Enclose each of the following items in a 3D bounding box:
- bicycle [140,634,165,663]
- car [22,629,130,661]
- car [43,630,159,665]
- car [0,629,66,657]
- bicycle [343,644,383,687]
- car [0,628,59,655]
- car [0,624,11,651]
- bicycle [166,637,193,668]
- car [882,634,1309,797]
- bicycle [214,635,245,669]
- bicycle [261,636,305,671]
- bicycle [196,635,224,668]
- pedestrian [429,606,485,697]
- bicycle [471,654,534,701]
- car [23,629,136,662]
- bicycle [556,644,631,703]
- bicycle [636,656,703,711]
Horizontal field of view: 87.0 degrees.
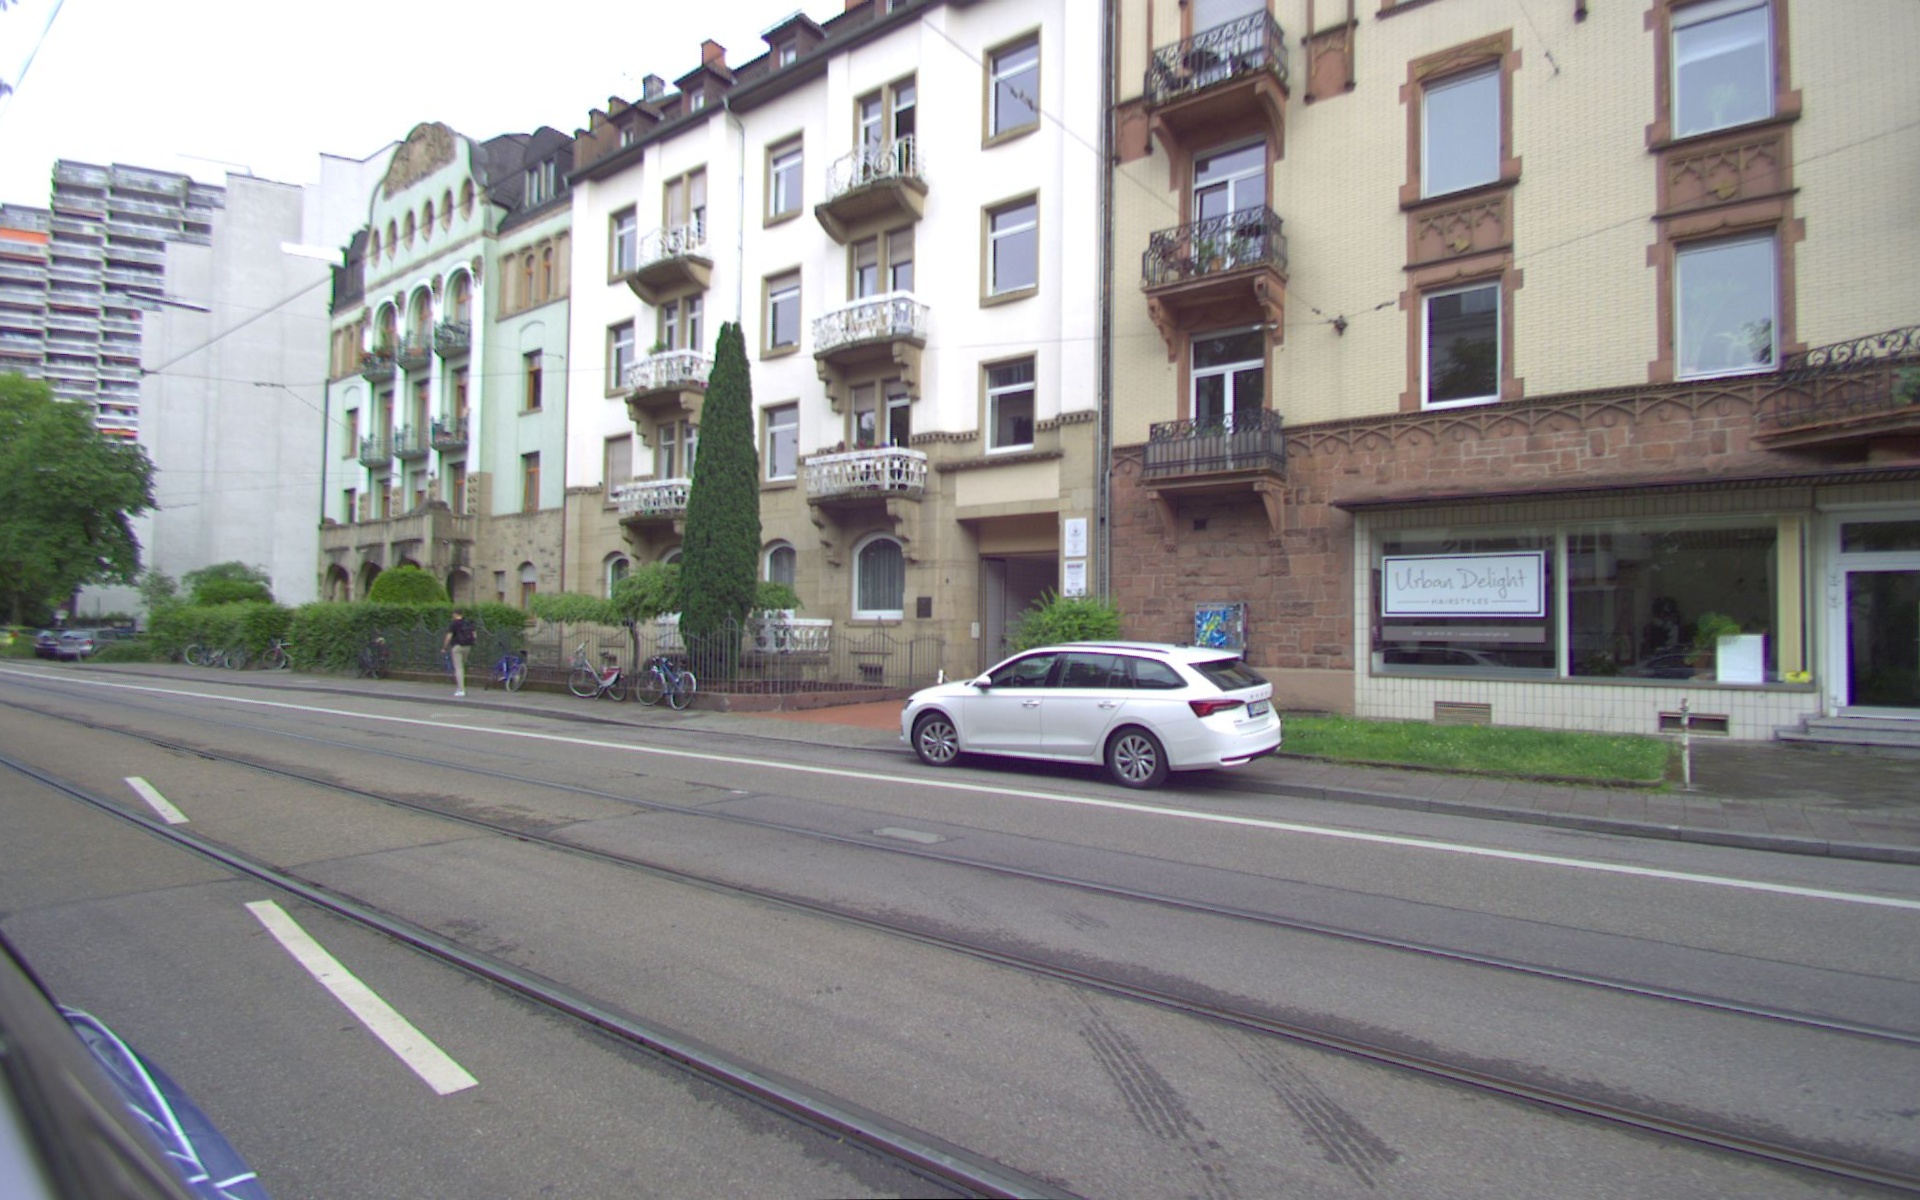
[{"bbox_3d":[-30.547,1.828,38.282,1.544,1.092,0.356,-1,-3,38],"label":"bicycle"},{"bbox_3d":[-41.745,2.112,47.920,1.671,1.414,4.001,1,-3,-2],"label":"car"},{"bbox_3d":[-37.215,2.066,43.982,1.671,1.414,4.001,1,-3,-2],"label":"car"},{"bbox_3d":[-50.015,2.270,53.827,1.669,1.405,4.005,1,-3,-6],"label":"car"},{"bbox_3d":[-15.866,1.717,26.878,1.544,1.092,0.356,-1,-3,38],"label":"bicycle"},{"bbox_3d":[-52.275,2.288,55.886,1.669,1.453,4.005,1,-3,-6],"label":"car"},{"bbox_3d":[-60.239,2.260,61.461,1.669,1.632,4.005,1,-3,-6],"label":"car"},{"bbox_3d":[-28.188,1.881,36.552,1.544,1.092,0.356,-1,-3,38],"label":"bicycle"},{"bbox_3d":[1.406,1.167,11.577,4.601,1.496,1.731,-1,-3,37],"label":"car"},{"bbox_3d":[-23.948,1.707,33.179,1.544,1.092,0.356,-1,-3,38],"label":"bicycle"},{"bbox_3d":[-22.238,1.745,33.251,0.300,1.091,1.190,-1,-1,39],"label":"bicycle"},{"bbox_3d":[-25.495,1.737,34.395,1.544,1.092,0.356,-1,-3,38],"label":"bicycle"},{"bbox_3d":[-10.500,1.073,21.138,0.881,1.858,0.661,-1,-4,37],"label":"pedestrian"},{"bbox_3d":[-10.201,1.715,22.552,1.660,0.935,0.355,-2,-23,40],"label":"bicycle"},{"bbox_3d":[-39.552,2.050,45.585,1.671,1.414,4.001,1,-3,-2],"label":"car"},{"bbox_3d":[-7.276,1.449,20.065,1.617,1.110,0.382,0,-3,27],"label":"bicycle"},{"bbox_3d":[-5.349,1.526,18.596,1.513,0.945,0.329,-1,-3,38],"label":"bicycle"}]
